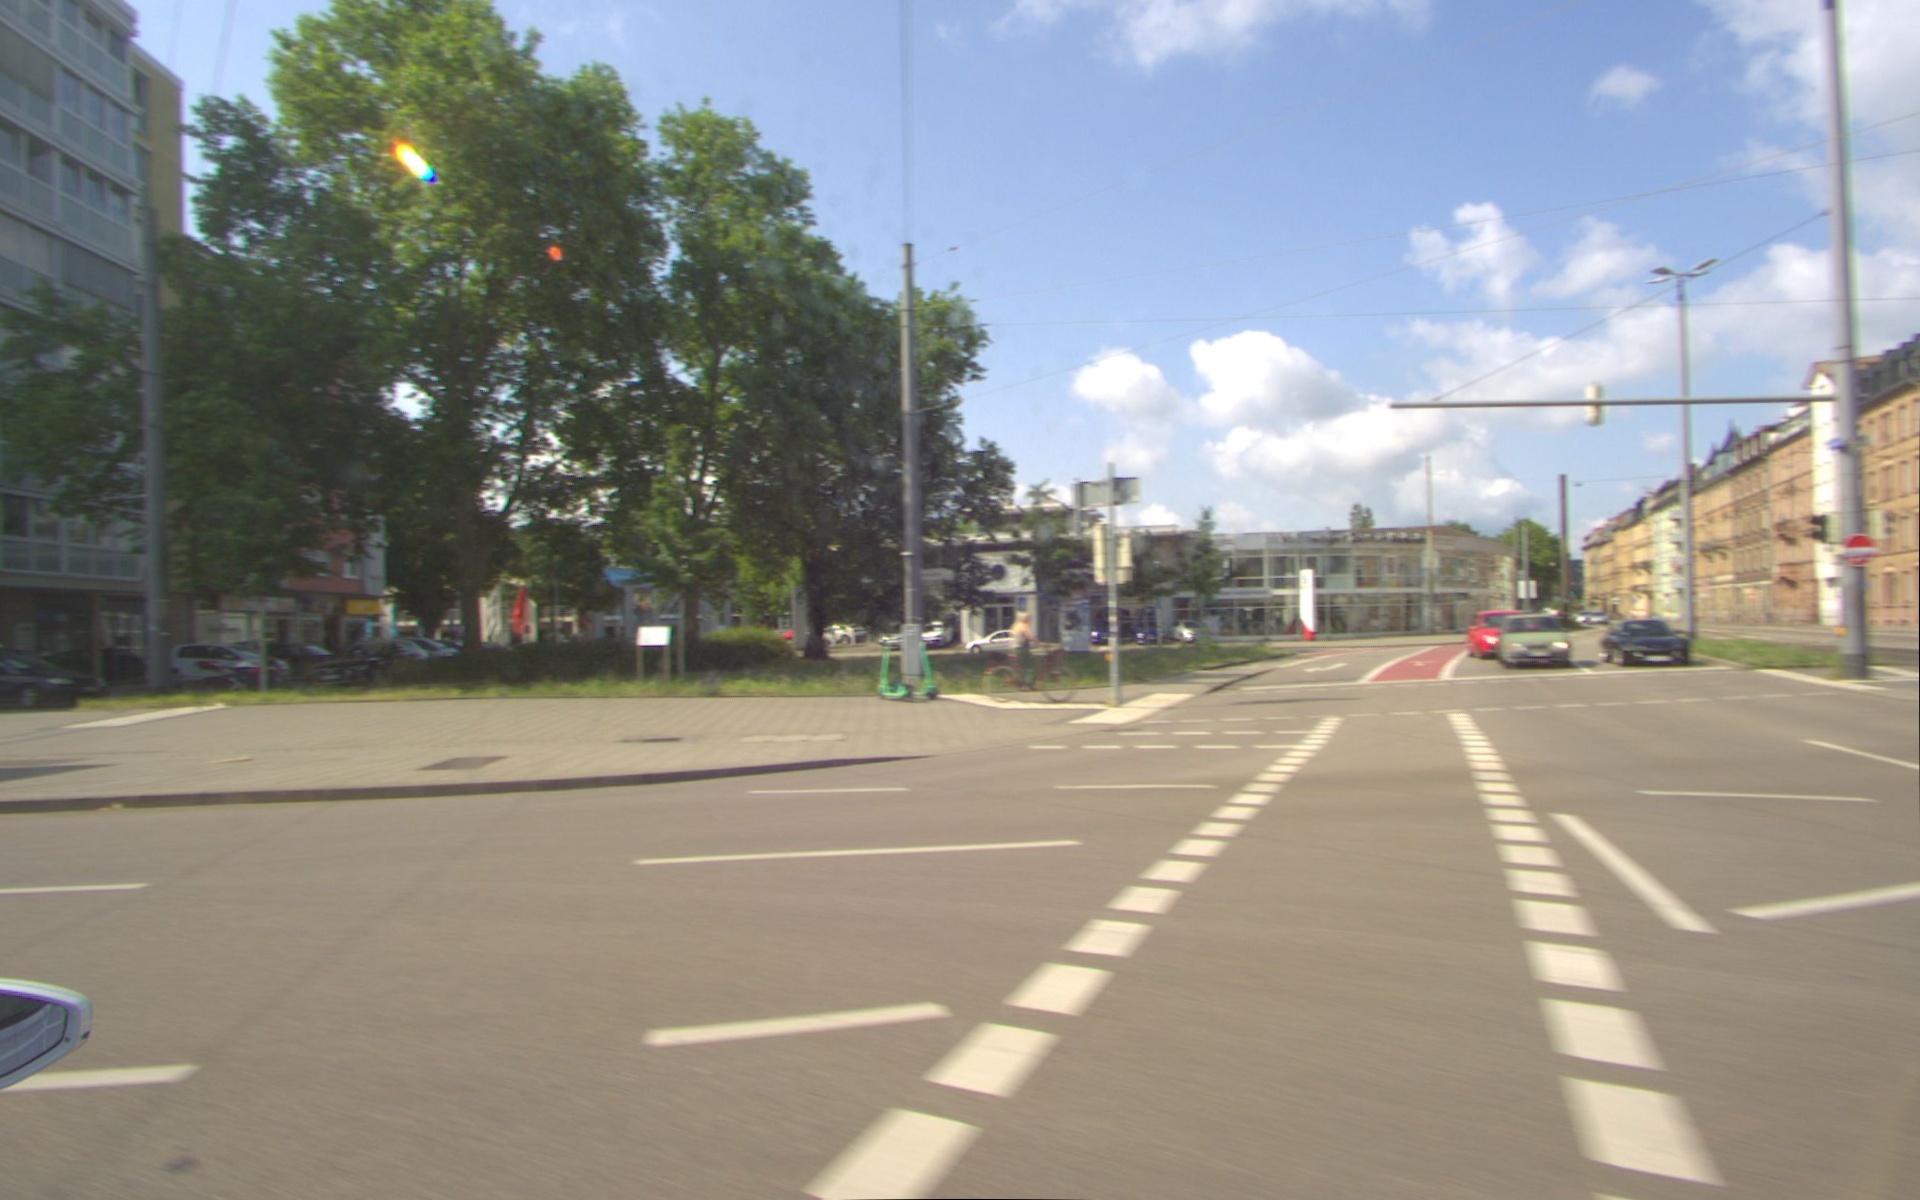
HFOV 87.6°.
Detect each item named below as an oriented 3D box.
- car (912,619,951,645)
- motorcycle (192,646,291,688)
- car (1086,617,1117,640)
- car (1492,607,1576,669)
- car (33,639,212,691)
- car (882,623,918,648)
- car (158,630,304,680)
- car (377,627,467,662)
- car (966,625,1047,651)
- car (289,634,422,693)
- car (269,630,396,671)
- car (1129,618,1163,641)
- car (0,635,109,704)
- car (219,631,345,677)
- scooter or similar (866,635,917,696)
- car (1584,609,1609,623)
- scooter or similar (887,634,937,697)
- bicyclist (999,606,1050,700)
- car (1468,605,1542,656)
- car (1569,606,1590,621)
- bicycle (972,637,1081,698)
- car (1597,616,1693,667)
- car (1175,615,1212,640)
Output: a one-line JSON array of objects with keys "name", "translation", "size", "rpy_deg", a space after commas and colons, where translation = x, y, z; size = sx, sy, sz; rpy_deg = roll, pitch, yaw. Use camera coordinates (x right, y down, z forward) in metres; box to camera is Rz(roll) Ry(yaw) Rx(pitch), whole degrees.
[{"name": "car", "translation": [-1.915, 2.191, 69.148], "size": [2.034, 1.625, 3.998], "rpy_deg": [-2, 0, 8]}, {"name": "motorcycle", "translation": [-17.579, 1.624, 24.534], "size": [0.598, 0.915, 1.878], "rpy_deg": [0, 1, 42]}, {"name": "car", "translation": [9.304, 1.854, 66.140], "size": [1.889, 1.463, 4.000], "rpy_deg": [-1, -1, 7]}, {"name": "car", "translation": [15.583, 0.987, 27.361], "size": [1.798, 1.532, 3.984], "rpy_deg": [-2, -1, 28]}, {"name": "car", "translation": [-25.247, 1.941, 30.285], "size": [3.923, 1.344, 1.586], "rpy_deg": [-2, -1, -5]}, {"name": "car", "translation": [-4.160, 2.444, 69.998], "size": [1.961, 1.594, 4.001], "rpy_deg": [-2, -1, 4]}, {"name": "car", "translation": [-25.150, 1.868, 34.645], "size": [3.505, 1.550, 2.000], "rpy_deg": [-2, -1, -5]}, {"name": "car", "translation": [-26.598, 2.184, 49.587], "size": [3.549, 1.614, 1.666], "rpy_deg": [-2, -1, -1]}, {"name": "car", "translation": [2.801, 2.271, 60.106], "size": [4.467, 1.371, 1.997], "rpy_deg": [-2, -1, 16]}, {"name": "car", "translation": [-18.364, 1.875, 30.642], "size": [1.762, 1.439, 3.998], "rpy_deg": [3, 1, -3]}, {"name": "car", "translation": [-25.481, 2.039, 40.806], "size": [3.923, 1.483, 1.870], "rpy_deg": [-2, -1, -7]}, {"name": "car", "translation": [12.078, 1.910, 65.311], "size": [1.889, 1.463, 4.000], "rpy_deg": [-1, -1, 7]}, {"name": "car", "translation": [-23.949, 1.674, 24.560], "size": [4.307, 1.605, 2.000], "rpy_deg": [0, -1, -6]}, {"name": "car", "translation": [-25.562, 2.012, 37.854], "size": [3.505, 1.550, 1.696], "rpy_deg": [-2, -1, -5]}, {"name": "scooter or similar", "translation": [-1.371, 1.299, 20.027], "size": [0.917, 1.173, 0.379], "rpy_deg": [1, 2, -32]}, {"name": "car", "translation": [66.141, 1.641, 104.096], "size": [1.970, 1.349, 3.983], "rpy_deg": [-1, -1, 29]}, {"name": "scooter or similar", "translation": [-0.936, 1.276, 19.629], "size": [0.920, 1.173, 0.378], "rpy_deg": [0, 2, -44]}, {"name": "bicyclist", "translation": [1.235, 1.018, 19.328], "size": [0.813, 1.767, 0.711], "rpy_deg": [1, -1, -13]}, {"name": "car", "translation": [17.866, 0.960, 32.932], "size": [1.969, 1.538, 3.984], "rpy_deg": [-2, -1, 28]}, {"name": "car", "translation": [73.167, 1.590, 118.247], "size": [1.758, 1.728, 3.985], "rpy_deg": [-1, -1, 27]}, {"name": "bicycle", "translation": [1.278, 1.296, 19.353], "size": [1.955, 1.142, 0.789], "rpy_deg": [1, -1, -13]}, {"name": "car", "translation": [18.014, 1.061, 26.487], "size": [1.602, 1.176, 3.984], "rpy_deg": [-2, -1, 28]}, {"name": "car", "translation": [15.422, 1.805, 66.316], "size": [1.889, 1.572, 3.999], "rpy_deg": [-1, 0, 7]}]
